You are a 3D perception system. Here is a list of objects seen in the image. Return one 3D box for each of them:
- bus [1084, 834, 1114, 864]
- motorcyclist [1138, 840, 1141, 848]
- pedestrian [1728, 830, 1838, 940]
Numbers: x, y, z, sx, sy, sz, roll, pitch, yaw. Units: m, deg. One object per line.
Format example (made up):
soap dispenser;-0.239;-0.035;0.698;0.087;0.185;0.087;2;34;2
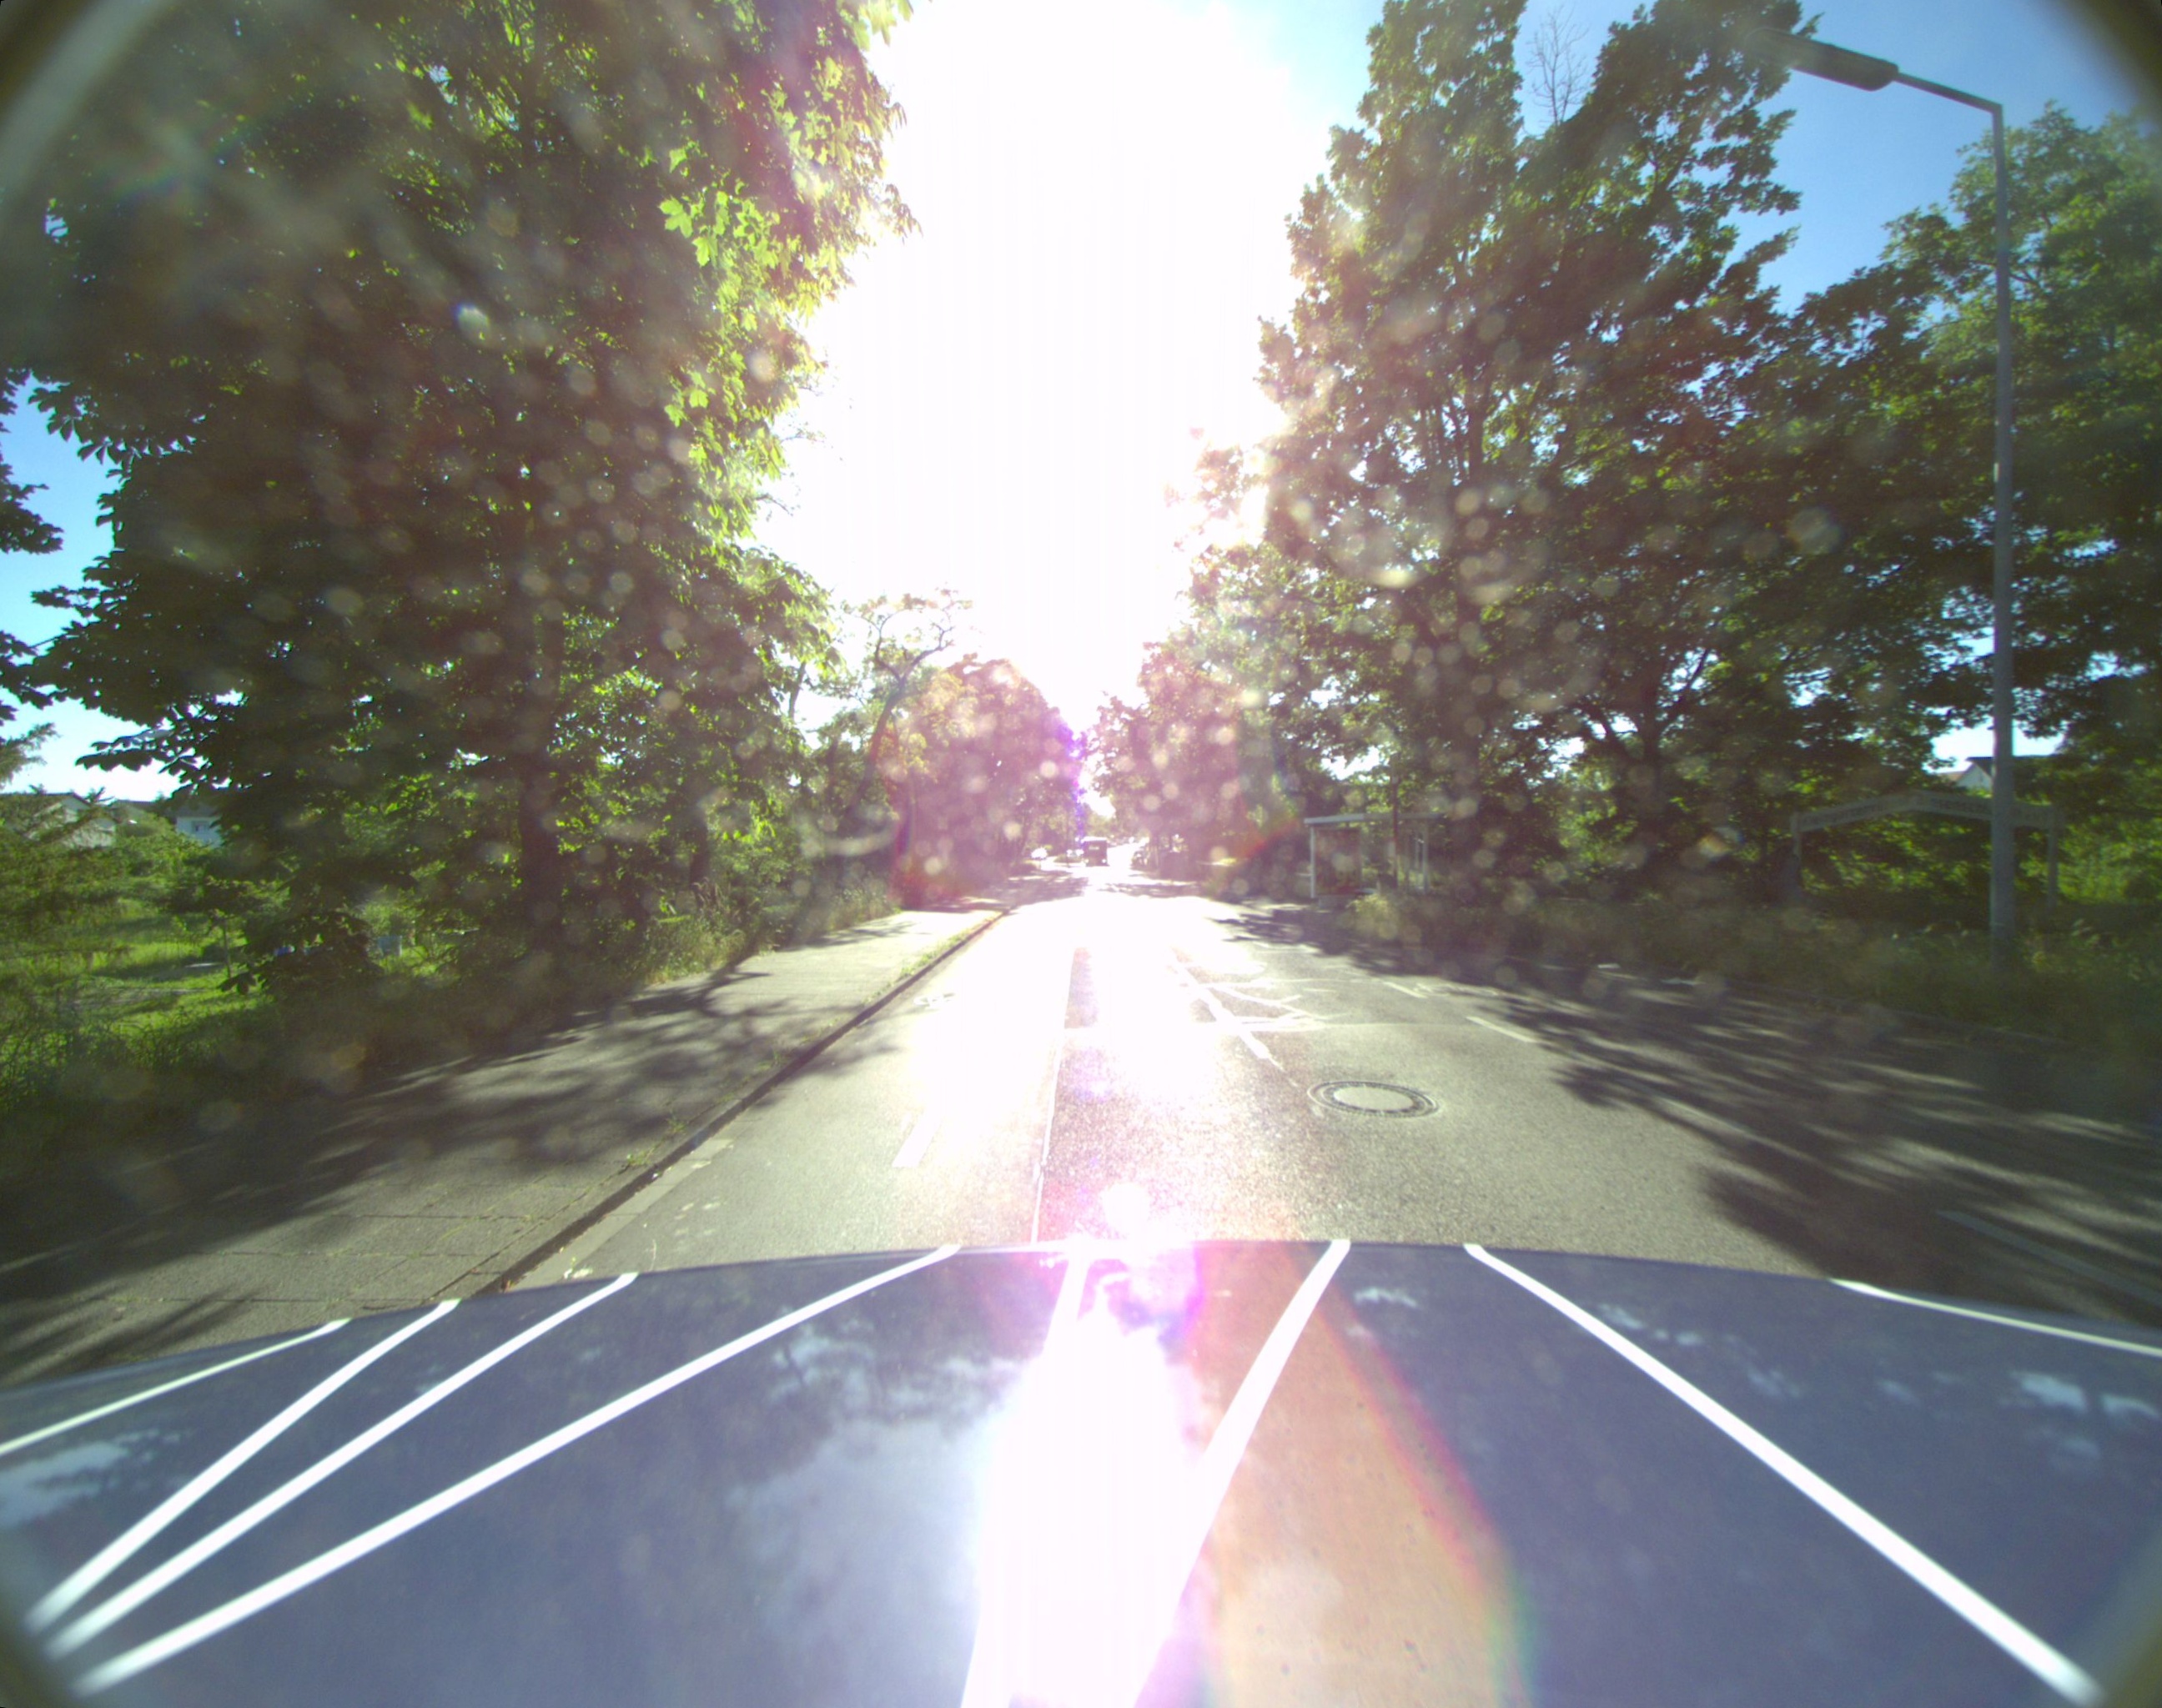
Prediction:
bus;1.866;-0.518;85.336;2.790;2.965;12.893;-2;0;-1
motorcyclist;14.639;-2.506;191.265;0.640;2.002;0.739;-3;2;-2
pedestrian;11.340;0.484;12.315;0.915;1.678;0.891;-2;0;2
